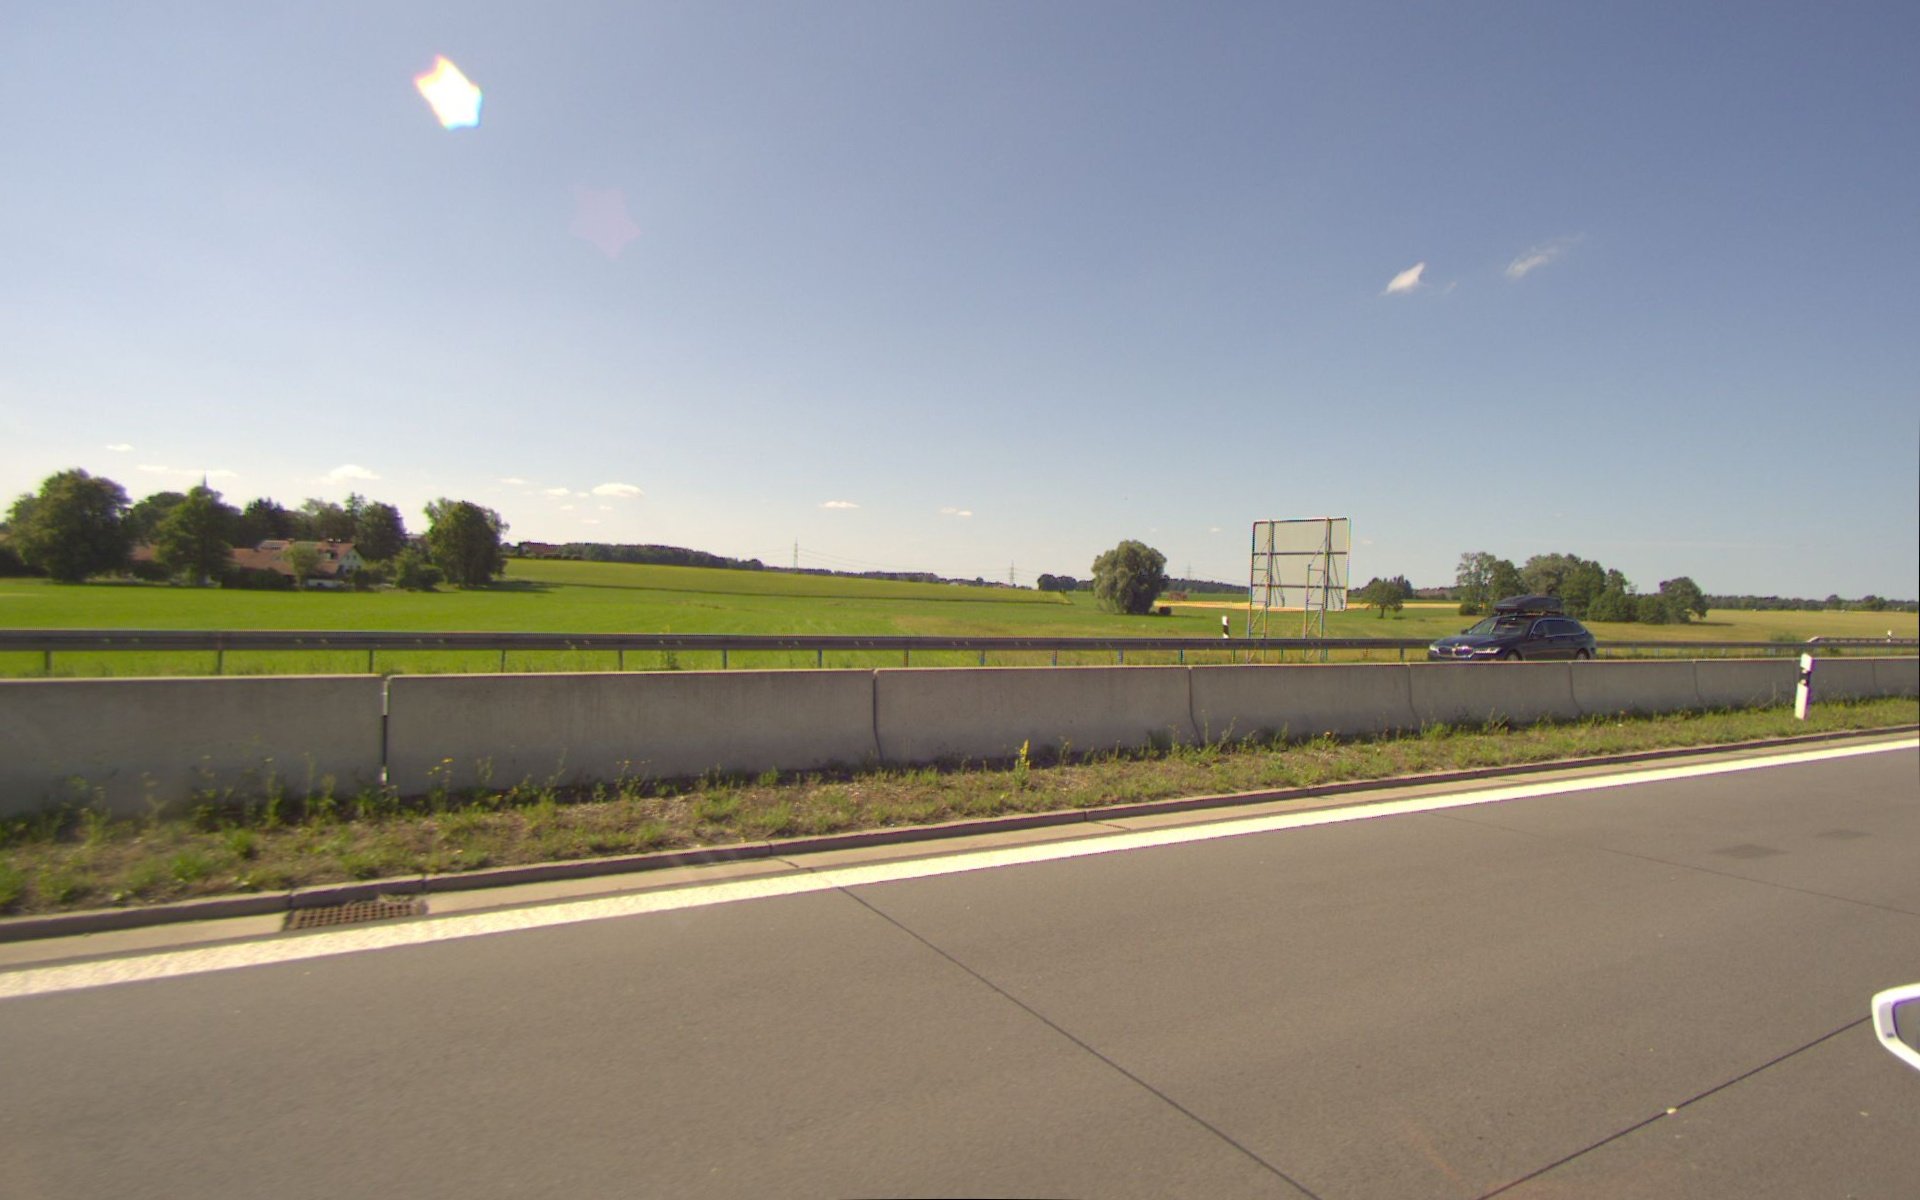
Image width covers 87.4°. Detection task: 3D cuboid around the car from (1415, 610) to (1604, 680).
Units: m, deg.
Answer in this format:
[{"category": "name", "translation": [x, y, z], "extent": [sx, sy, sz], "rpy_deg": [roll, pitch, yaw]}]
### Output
[{"category": "car", "translation": [13.392, 1.061, 24.404], "extent": [4.750, 1.543, 1.888], "rpy_deg": [1, -1, -31]}]
